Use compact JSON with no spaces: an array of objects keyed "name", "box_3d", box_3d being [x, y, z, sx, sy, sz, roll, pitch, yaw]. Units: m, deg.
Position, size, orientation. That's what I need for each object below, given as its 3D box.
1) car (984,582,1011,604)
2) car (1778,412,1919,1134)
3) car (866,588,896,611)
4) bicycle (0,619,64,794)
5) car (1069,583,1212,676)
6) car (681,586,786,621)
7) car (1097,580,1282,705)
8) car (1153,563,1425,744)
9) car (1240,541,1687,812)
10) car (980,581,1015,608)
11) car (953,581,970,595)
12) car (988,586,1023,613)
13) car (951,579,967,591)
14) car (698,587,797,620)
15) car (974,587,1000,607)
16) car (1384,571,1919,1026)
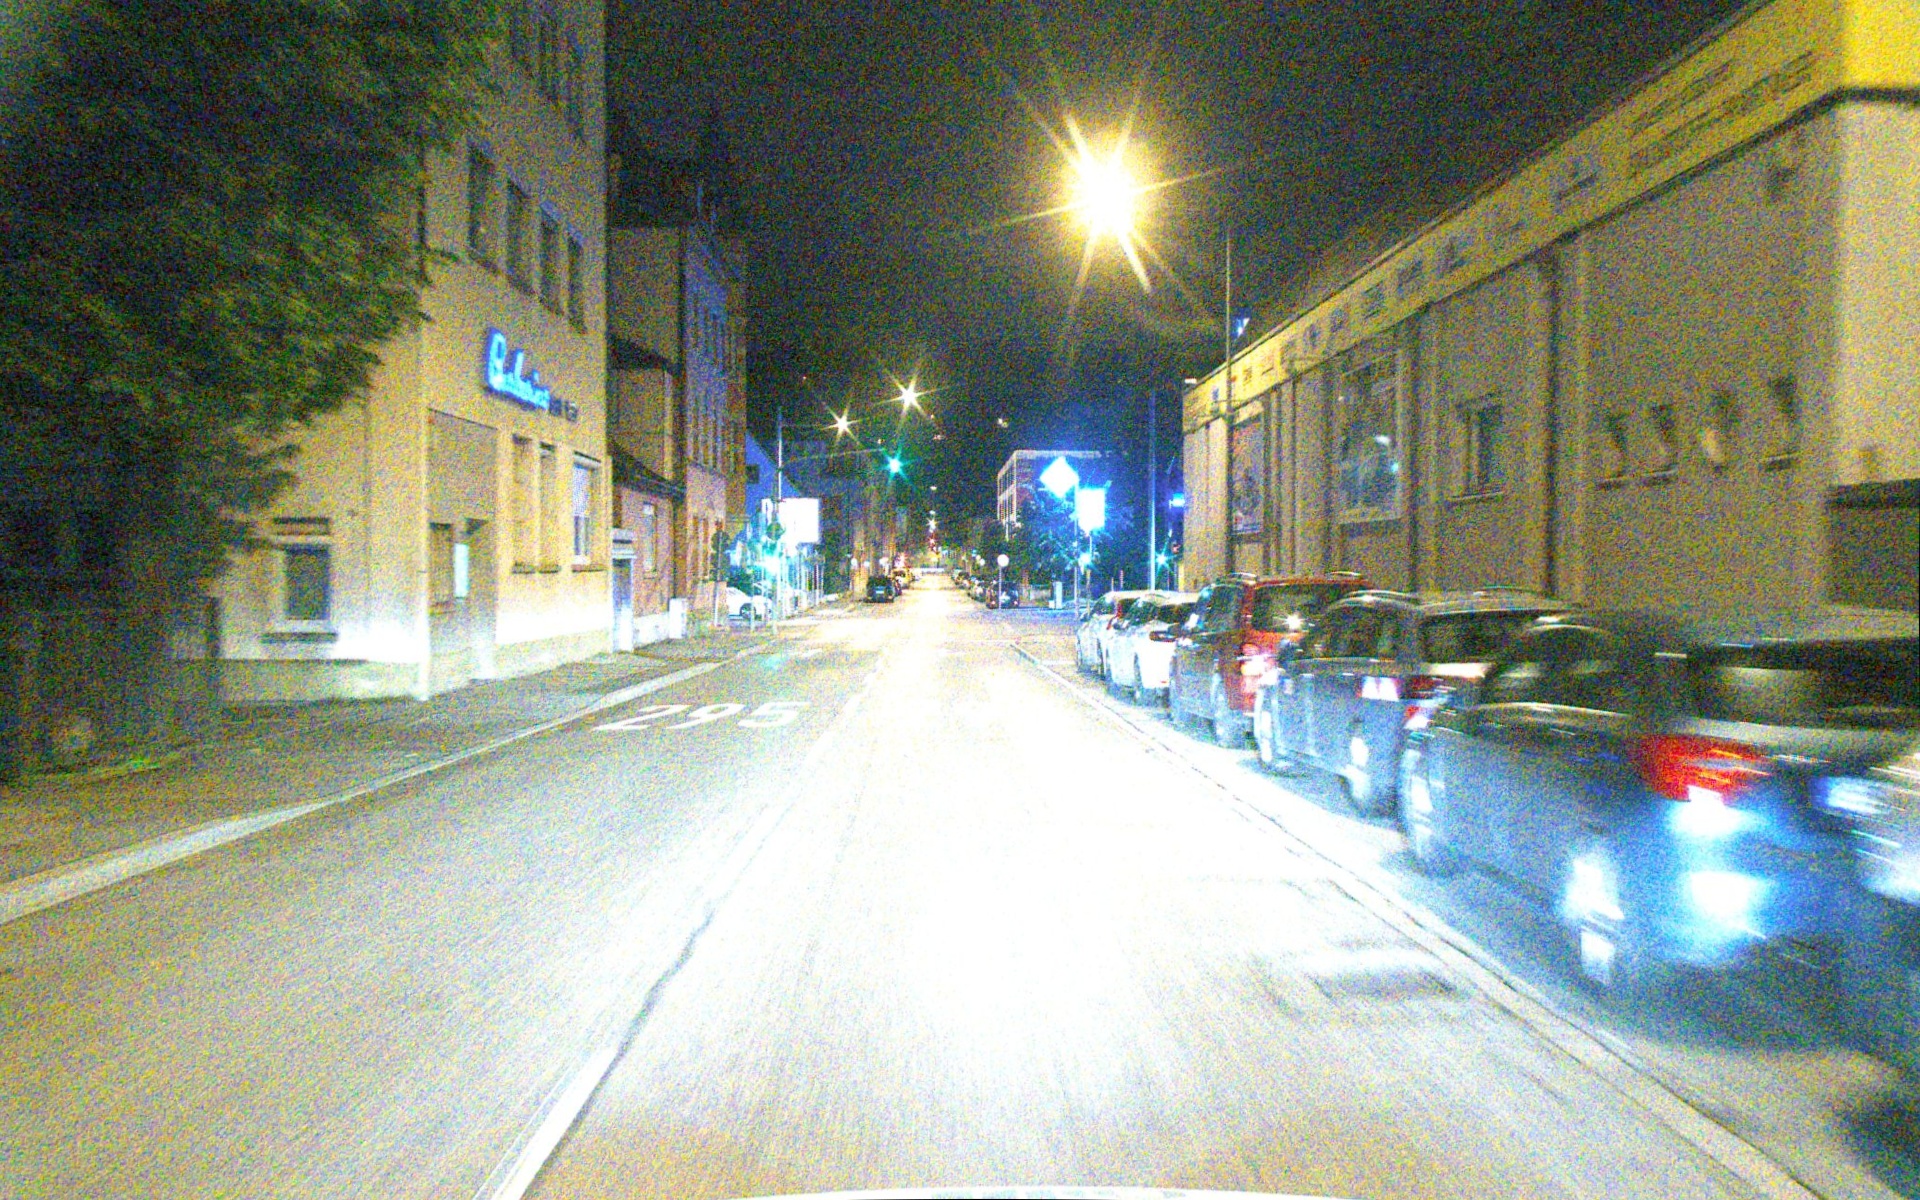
[{"name":"car","box_3d":[2.742,-0.482,121.540,1.952,1.546,4.000,0,0,1]},{"name":"car","box_3d":[3.456,0.452,2.657,1.764,1.908,4.772,-2,0,-2]},{"name":"car","box_3d":[-5.499,-0.018,115.593,1.953,1.528,3.999,1,0,-1]},{"name":"bicycle","box_3d":[-6.186,0.653,9.987,0.607,1.070,1.721,0,0,0]},{"name":"car","box_3d":[3.117,0.496,29.467,1.823,1.515,4.543,1,0,-3]},{"name":"car","box_3d":[-9.998,0.164,73.237,4.349,1.475,1.999,1,0,-1]},{"name":"car","box_3d":[3.096,0.547,23.193,1.739,1.571,4.543,1,0,-3]},{"name":"car","box_3d":[3.308,0.471,17.539,1.787,1.651,4.455,-1,1,-3]},{"name":"car","box_3d":[3.463,0.441,12.380,1.787,1.616,4.627,-1,1,-2]},{"name":"car","box_3d":[2.337,-0.365,103.079,1.953,1.623,3.999,1,0,-2]},{"name":"car","box_3d":[0.189,-1.405,193.451,1.952,1.546,4.000,0,0,1]},{"name":"car","box_3d":[2.671,-0.046,97.343,1.952,1.543,4.000,1,0,1]},{"name":"car","box_3d":[-0.109,-1.923,216.526,1.952,1.546,4.000,0,0,1]},{"name":"car","box_3d":[-9.766,0.154,76.280,4.350,1.475,1.999,1,0,-2]},{"name":"car","box_3d":[2.099,-0.226,128.522,1.952,1.546,4.000,0,0,1]},{"name":"car","box_3d":[3.271,0.618,7.432,1.778,1.452,4.190,-1,0,2]}]
